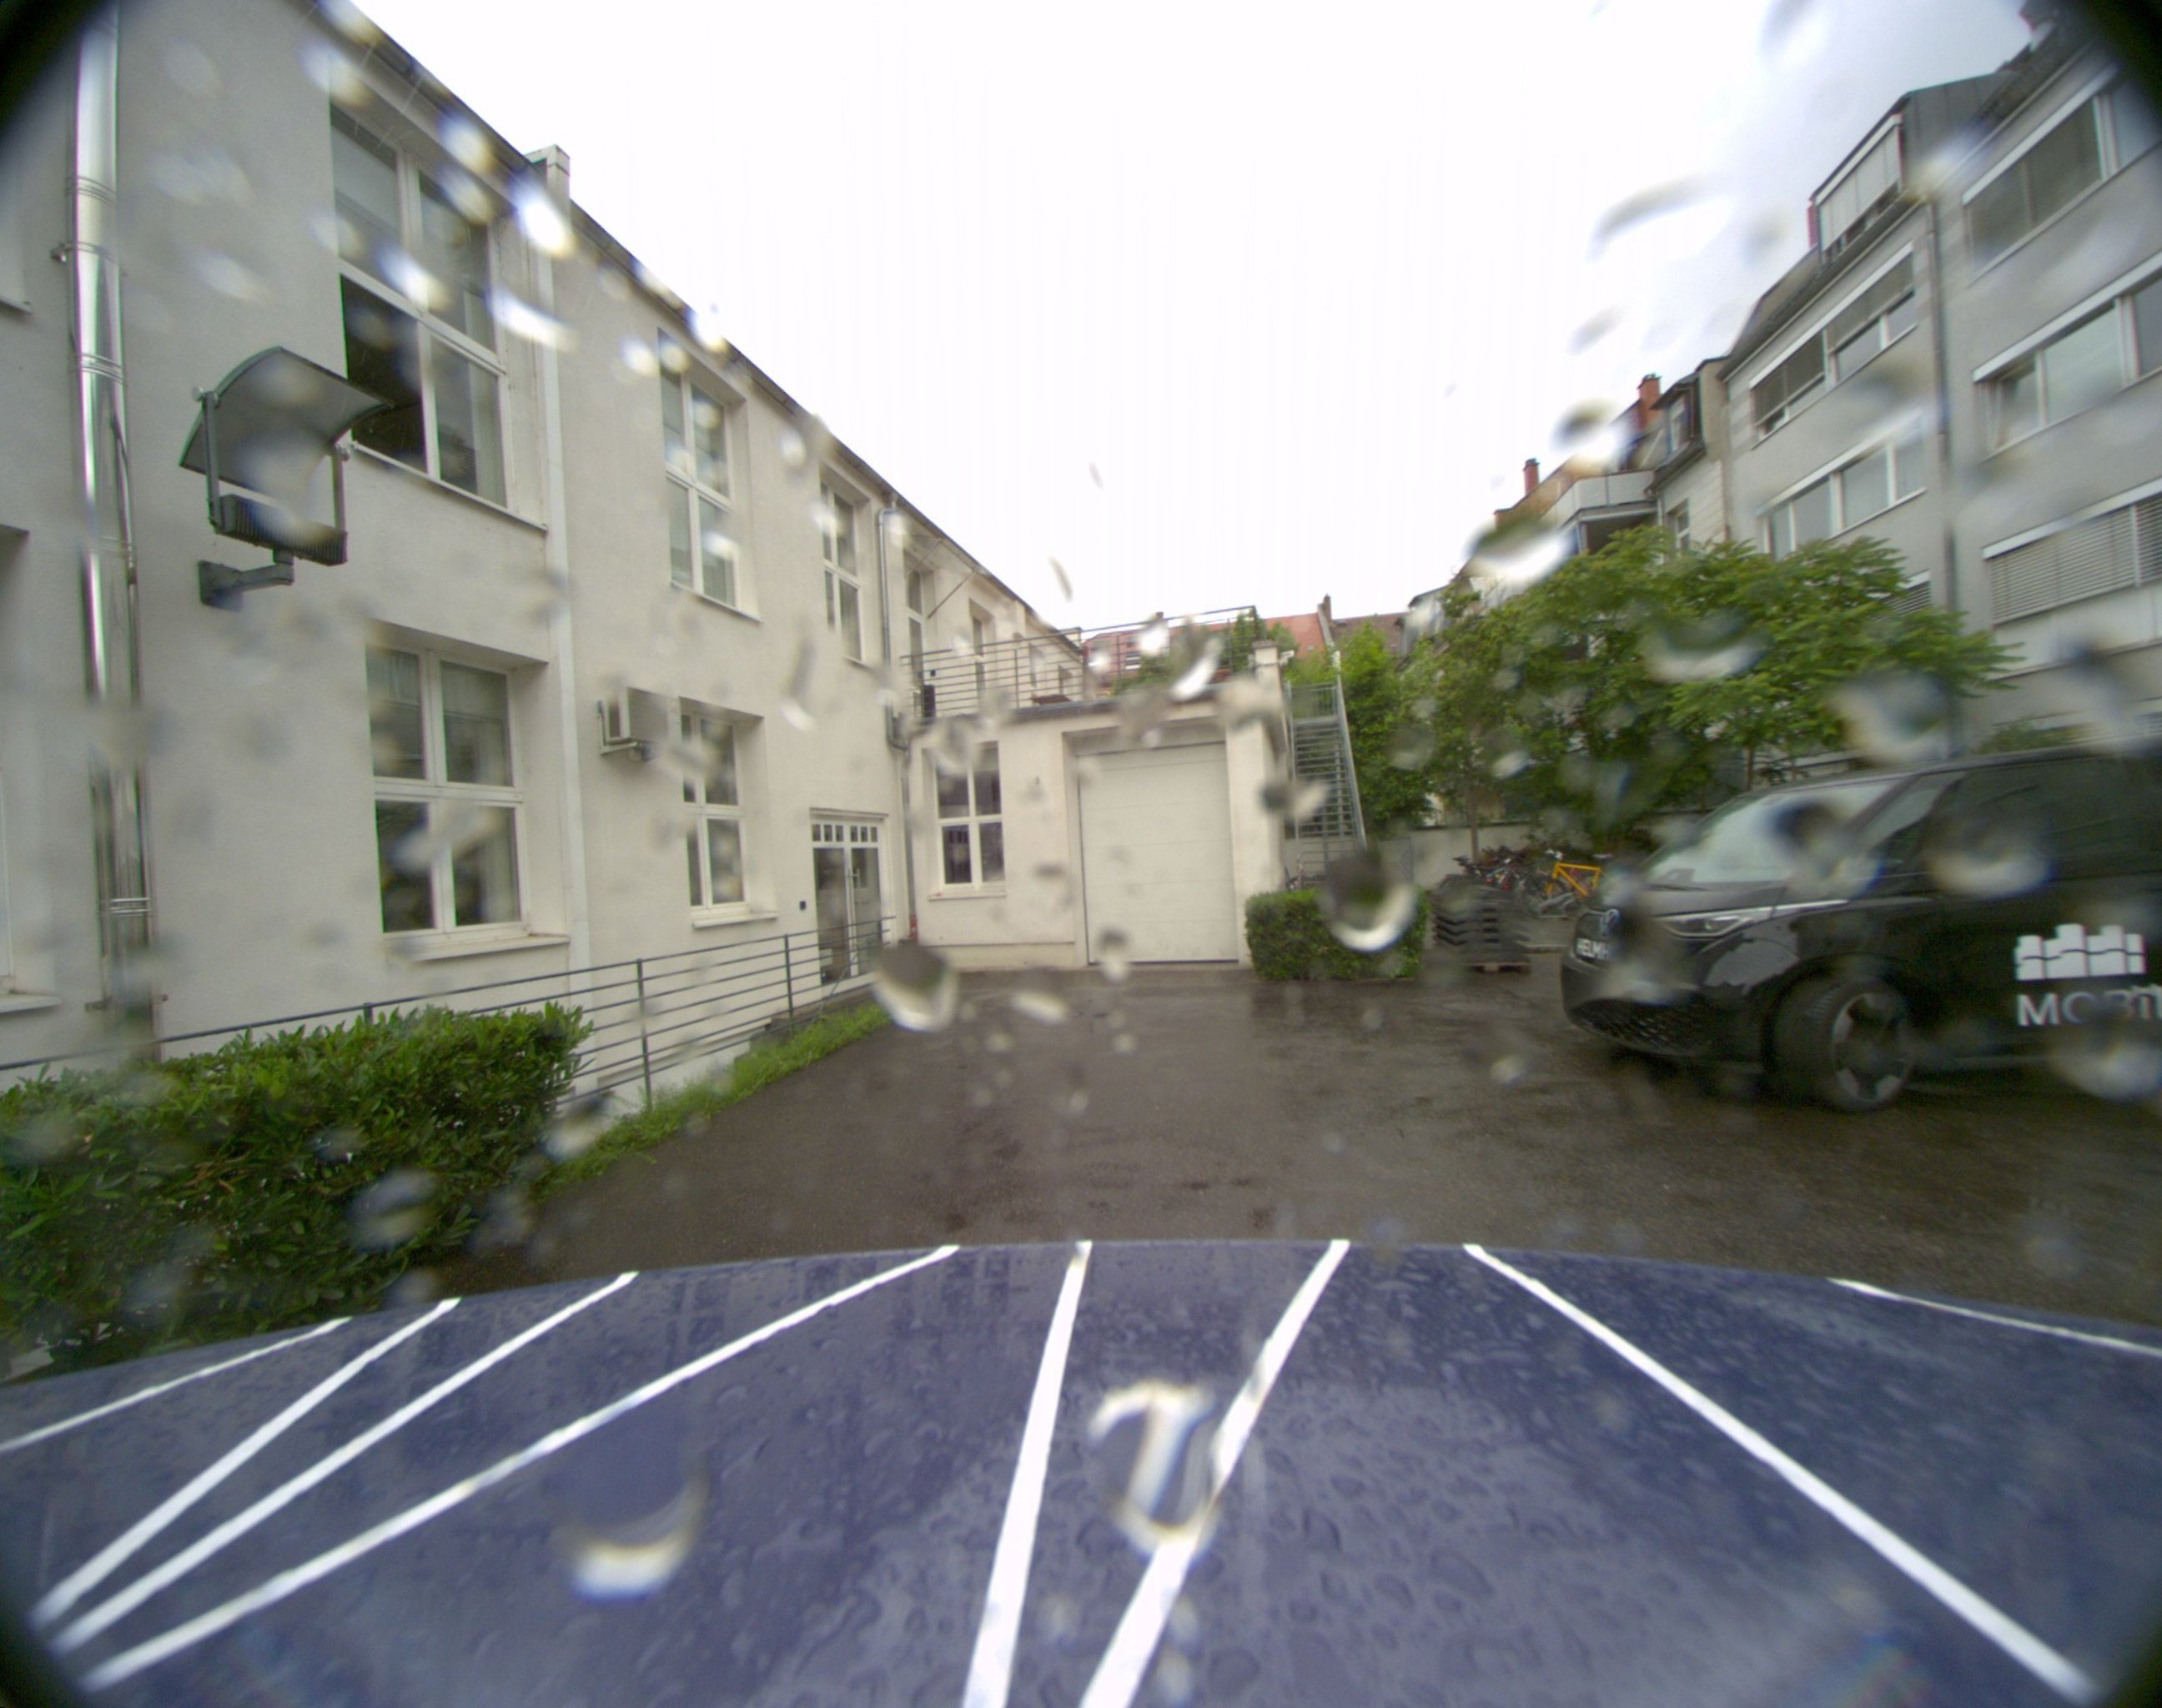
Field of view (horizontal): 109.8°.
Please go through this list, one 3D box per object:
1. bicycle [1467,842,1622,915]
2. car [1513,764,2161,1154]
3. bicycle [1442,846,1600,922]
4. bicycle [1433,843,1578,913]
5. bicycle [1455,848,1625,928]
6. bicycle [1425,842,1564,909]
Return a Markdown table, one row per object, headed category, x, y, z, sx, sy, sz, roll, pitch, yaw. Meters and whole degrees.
| category | x | y | z | sx | sy | sz | roll | pitch | yaw |
| --- | --- | --- | --- | --- | --- | --- | --- | --- | --- |
| bicycle | 8.487 | 0.462 | 14.025 | 2.316 | 1.180 | 0.644 | -4 | 2 | 17 |
| car | 5.528 | 0.486 | 4.539 | 4.625 | 1.825 | 1.990 | -4 | -1 | 9 |
| bicycle | 7.776 | 0.532 | 13.541 | 2.316 | 1.180 | 0.644 | -4 | 2 | 17 |
| bicycle | 8.133 | 0.468 | 14.653 | 2.316 | 1.180 | 0.644 | -4 | 2 | 17 |
| bicycle | 7.632 | 0.569 | 12.752 | 2.316 | 1.180 | 0.644 | -4 | 2 | 17 |
| bicycle | 8.261 | 0.438 | 15.275 | 2.316 | 1.180 | 0.644 | -4 | 2 | 17 |
